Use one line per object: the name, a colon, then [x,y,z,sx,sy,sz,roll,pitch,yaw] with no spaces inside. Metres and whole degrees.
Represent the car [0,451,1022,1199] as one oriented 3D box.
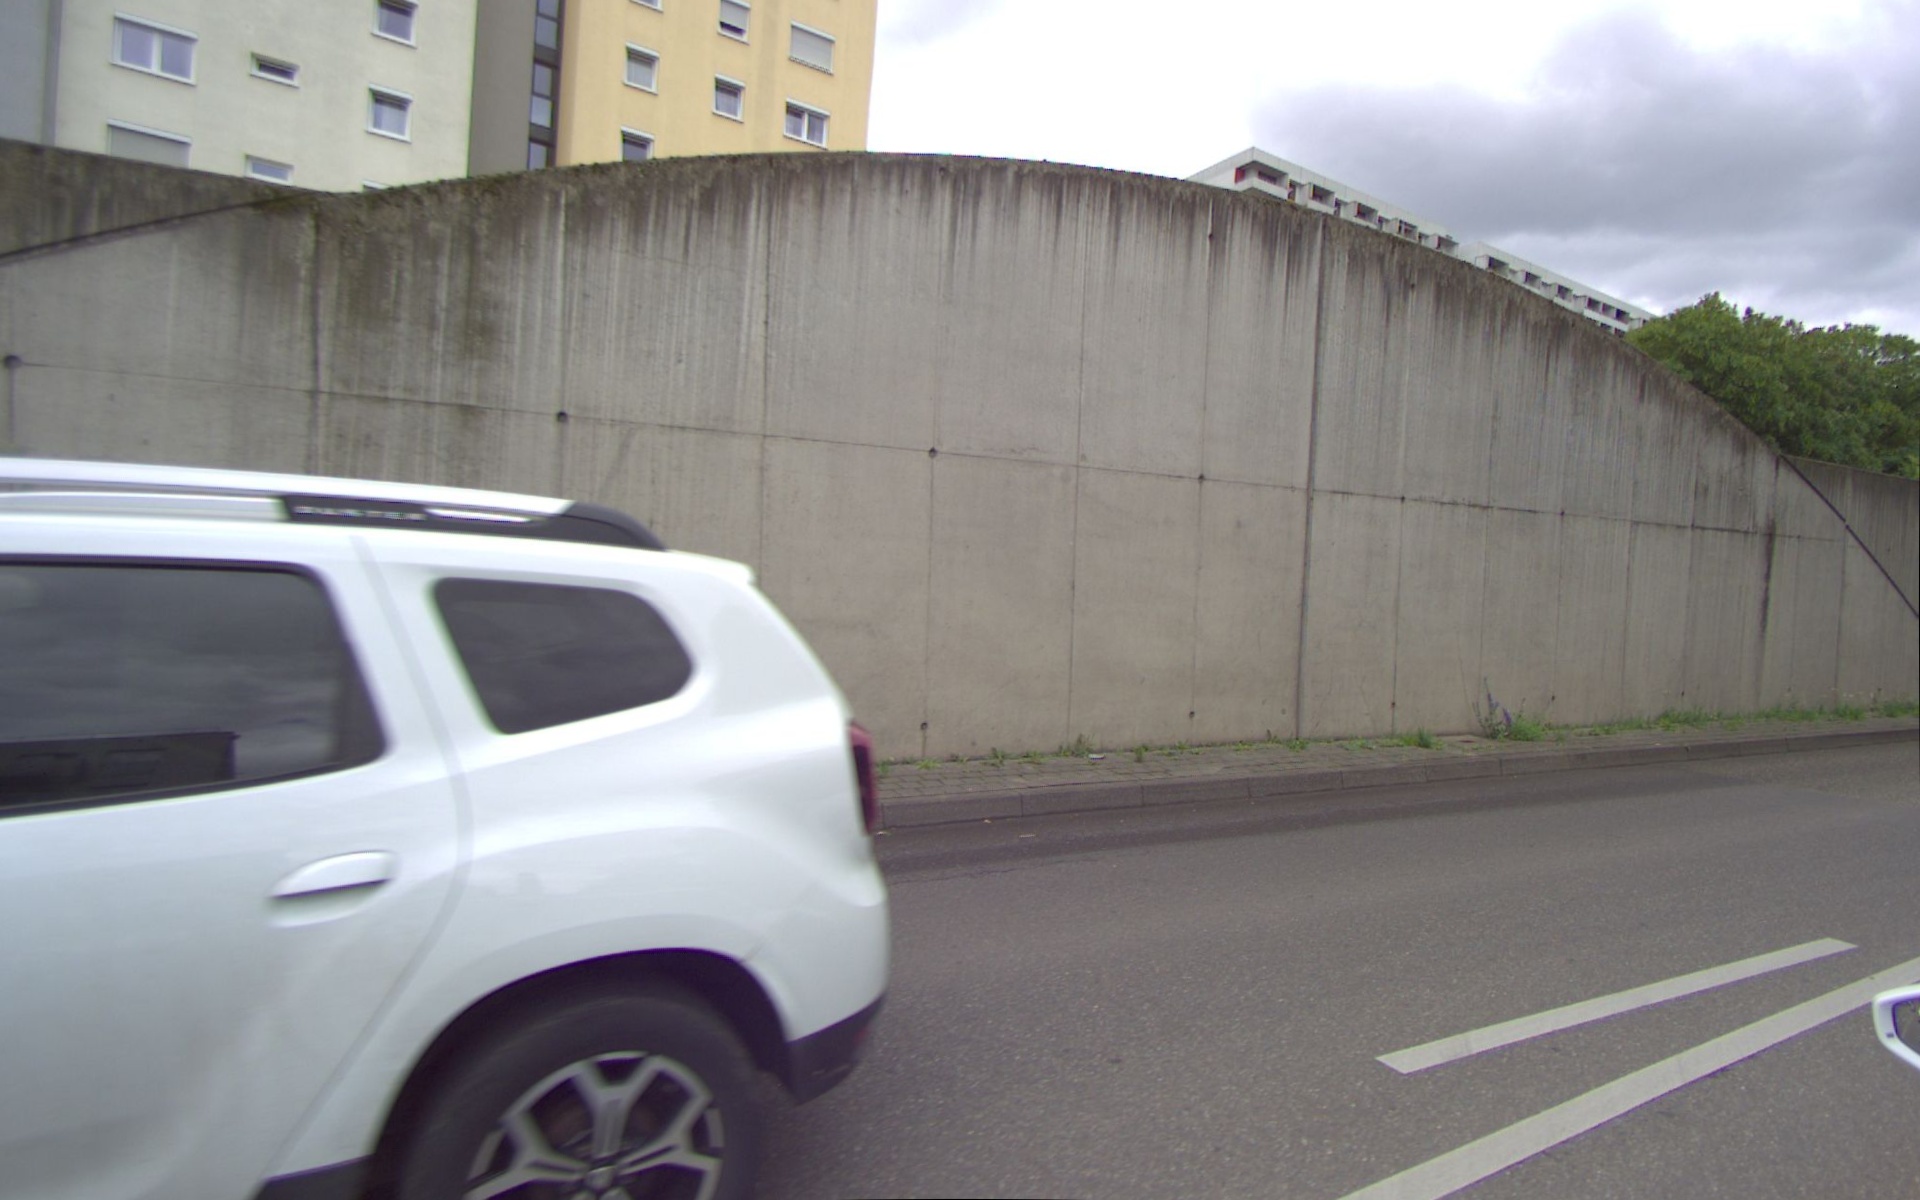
car: [-2.128,0.584,2.038,4.158,1.654,1.853,1,1,-30]
